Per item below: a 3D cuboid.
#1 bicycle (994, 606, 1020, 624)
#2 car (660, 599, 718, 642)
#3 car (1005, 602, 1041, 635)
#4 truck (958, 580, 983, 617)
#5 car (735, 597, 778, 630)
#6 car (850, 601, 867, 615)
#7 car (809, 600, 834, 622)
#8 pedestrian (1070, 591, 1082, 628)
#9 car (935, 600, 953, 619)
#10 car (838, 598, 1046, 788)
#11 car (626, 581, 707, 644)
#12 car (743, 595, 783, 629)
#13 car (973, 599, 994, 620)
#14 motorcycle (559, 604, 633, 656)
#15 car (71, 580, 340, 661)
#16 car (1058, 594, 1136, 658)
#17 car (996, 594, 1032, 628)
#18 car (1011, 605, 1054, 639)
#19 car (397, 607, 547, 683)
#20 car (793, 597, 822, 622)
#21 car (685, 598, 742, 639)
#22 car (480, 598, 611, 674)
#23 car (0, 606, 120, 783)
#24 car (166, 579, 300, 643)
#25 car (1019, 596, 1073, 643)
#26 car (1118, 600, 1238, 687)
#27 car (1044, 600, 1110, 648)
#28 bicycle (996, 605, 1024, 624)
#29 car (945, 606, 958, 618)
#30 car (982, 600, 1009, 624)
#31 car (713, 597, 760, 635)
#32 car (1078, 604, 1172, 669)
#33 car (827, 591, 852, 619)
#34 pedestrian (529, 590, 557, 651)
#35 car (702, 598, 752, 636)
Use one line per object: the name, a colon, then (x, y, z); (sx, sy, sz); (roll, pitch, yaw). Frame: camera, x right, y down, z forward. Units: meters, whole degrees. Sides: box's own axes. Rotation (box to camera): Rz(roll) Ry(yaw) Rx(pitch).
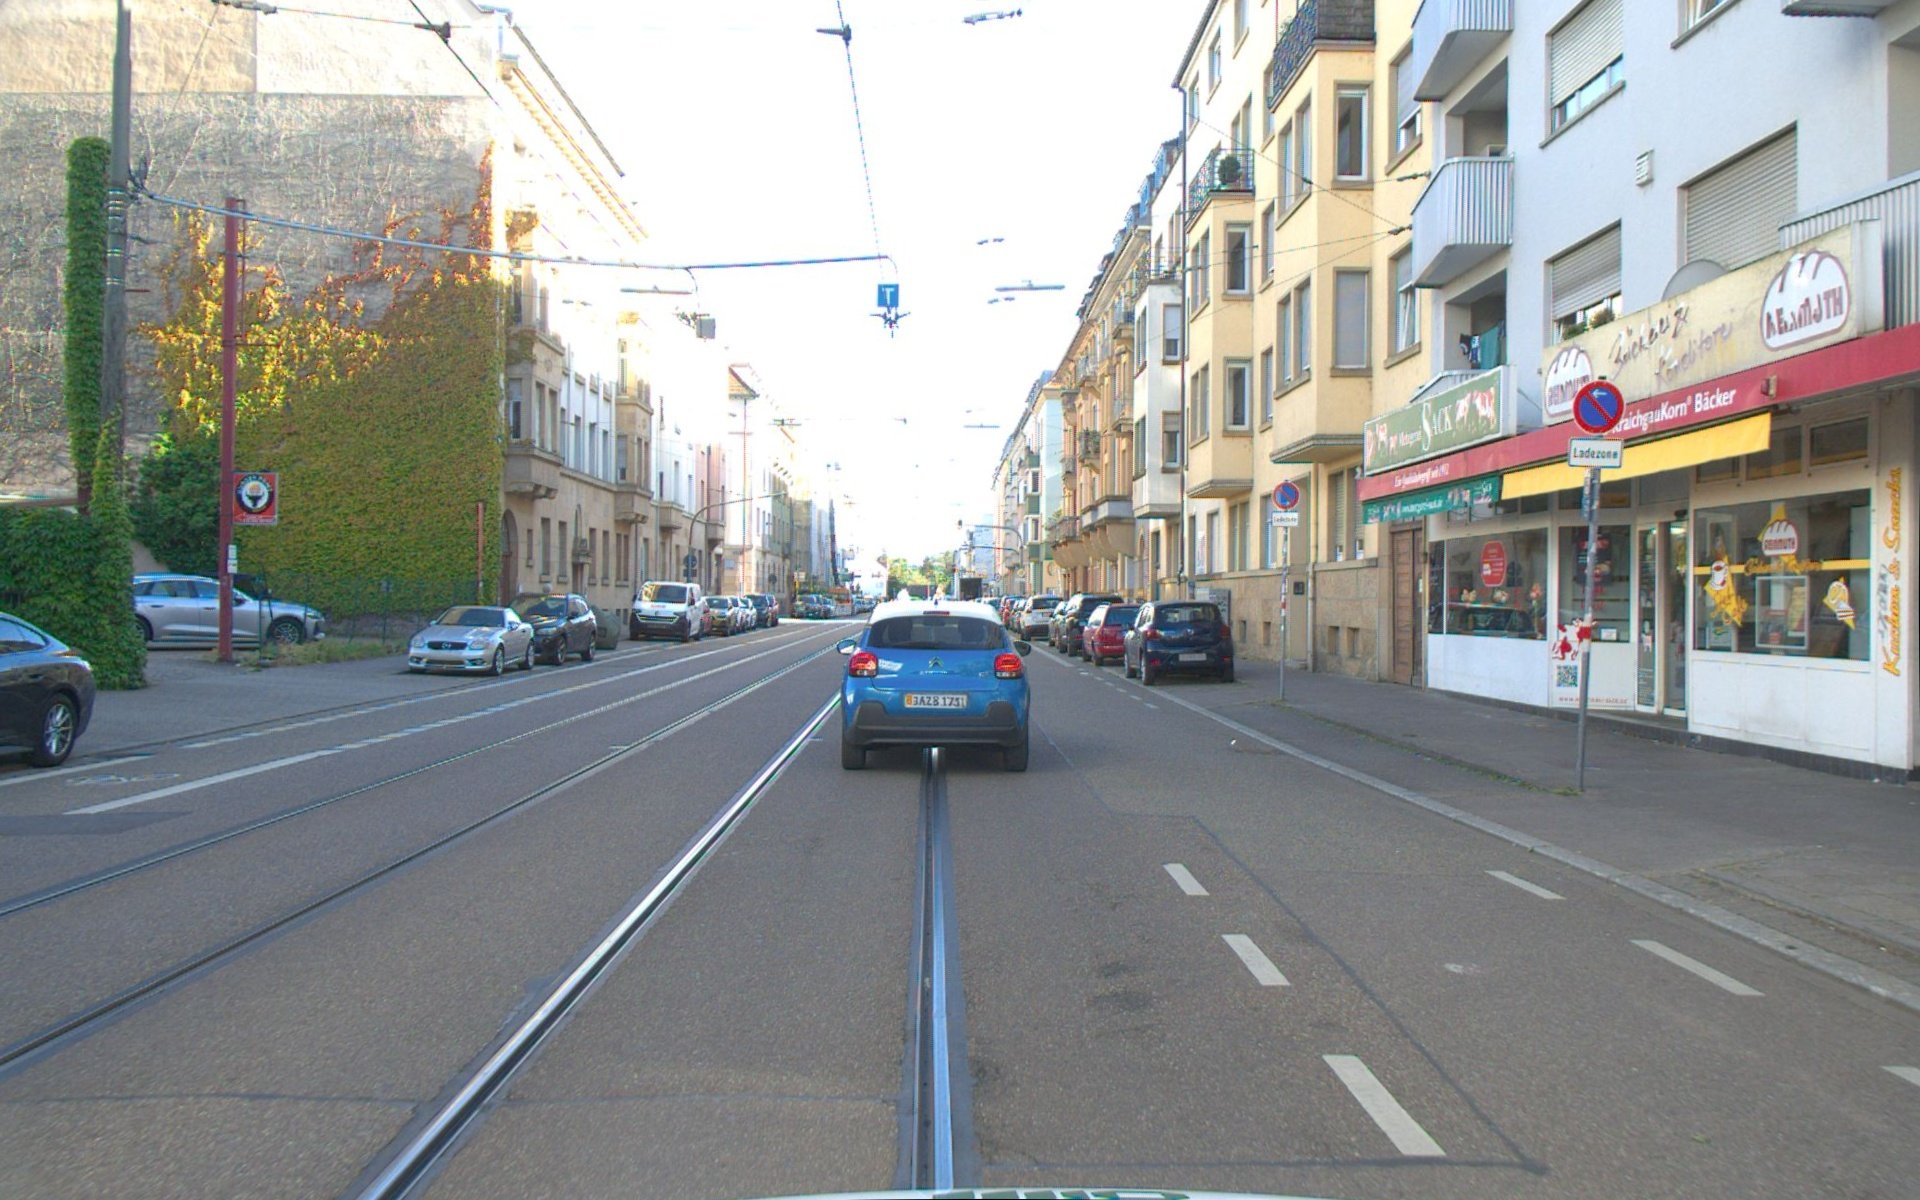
bicycle: (3.257, 1.058, 114.755); (1.688, 1.174, 0.469); (-3, 0, -1)
car: (-10.139, 0.753, 62.021); (1.570, 1.498, 3.645); (2, 0, -1)
car: (3.202, 0.915, 84.240); (1.717, 1.622, 3.729); (0, 0, 0)
truck: (1.155, -0.163, 188.739); (2.794, 4.154, 11.270); (0, 0, 0)
car: (-10.189, 0.673, 82.906); (1.747, 1.580, 3.018); (2, 0, -1)
car: (-12.180, 0.966, 199.050); (1.789, 1.660, 4.847); (0, 0, -1)
car: (-10.831, 0.865, 129.334); (1.748, 1.655, 4.606); (2, 0, -3)
pedestrian: (5.438, 0.453, 77.678); (0.502, 1.716, 0.448); (0, 0, -1)
car: (-1.702, 0.980, 173.945); (1.784, 1.927, 3.999); (1, 0, -1)
car: (-0.172, 0.785, 15.886); (1.700, 1.534, 3.992); (2, 0, -1)
car: (-9.960, 0.411, 56.454); (1.933, 1.983, 5.250); (2, 0, -2)
car: (-10.345, 0.617, 87.053); (1.748, 1.634, 4.395); (2, 0, -3)
car: (2.070, 0.858, 147.012); (1.695, 1.859, 4.685); (0, 0, -1)
motorcycle: (-9.893, 0.814, 45.013); (0.867, 1.375, 1.953); (1, 0, 31)
car: (-15.325, 0.414, 33.691); (4.740, 1.544, 1.976); (1, 0, -35)
car: (3.758, 0.698, 45.998); (1.821, 1.695, 4.561); (0, 0, 0)
car: (2.935, 0.599, 90.898); (1.718, 1.766, 4.506); (-3, 0, -1)
car: (3.220, 0.960, 74.029); (1.621, 1.509, 4.472); (0, 0, -2)
car: (-9.650, 0.848, 33.034); (1.747, 1.337, 4.220); (2, 0, -1)
car: (-10.861, 0.662, 117.972); (1.748, 1.720, 4.665); (2, 0, -3)
car: (-9.894, 0.719, 66.634); (1.747, 1.550, 4.358); (2, 0, -2)
car: (-9.519, 0.787, 38.364); (1.746, 1.593, 4.611); (2, 0, 1)
car: (-9.100, 0.803, 13.761); (1.747, 1.471, 4.841); (2, 0, -1)
car: (-18.579, 0.259, 42.447); (1.716, 1.552, 3.908); (1, 0, -1)
car: (3.236, 0.719, 62.931); (1.805, 1.720, 4.504); (0, 0, -1)
car: (4.086, 0.783, 31.509); (1.683, 1.517, 4.001); (-1, 0, -1)
car: (3.671, 0.725, 52.494); (1.702, 1.467, 4.031); (0, 0, -2)
bicycle: (3.317, 0.948, 110.765); (1.805, 1.174, 0.469); (-3, 0, -1)
car: (-1.194, 1.609, 221.927); (1.729, 1.513, 4.031); (0, 0, -1)
car: (2.504, 0.838, 117.826); (1.747, 1.660, 3.999); (0, 0, -1)
car: (-10.331, 0.713, 76.691); (1.748, 1.650, 4.177); (2, 0, -3)
car: (3.922, 0.842, 39.947); (1.821, 1.481, 4.709); (0, 0, 0)
car: (-11.077, 0.458, 152.680); (2.102, 2.519, 4.977); (2, 0, -3)
pedestrian: (-12.235, 0.600, 48.529); (0.666, 1.754, 0.616); (1, 0, -1)
car: (-10.091, 0.720, 71.894); (1.736, 1.574, 4.363); (2, 0, -3)
